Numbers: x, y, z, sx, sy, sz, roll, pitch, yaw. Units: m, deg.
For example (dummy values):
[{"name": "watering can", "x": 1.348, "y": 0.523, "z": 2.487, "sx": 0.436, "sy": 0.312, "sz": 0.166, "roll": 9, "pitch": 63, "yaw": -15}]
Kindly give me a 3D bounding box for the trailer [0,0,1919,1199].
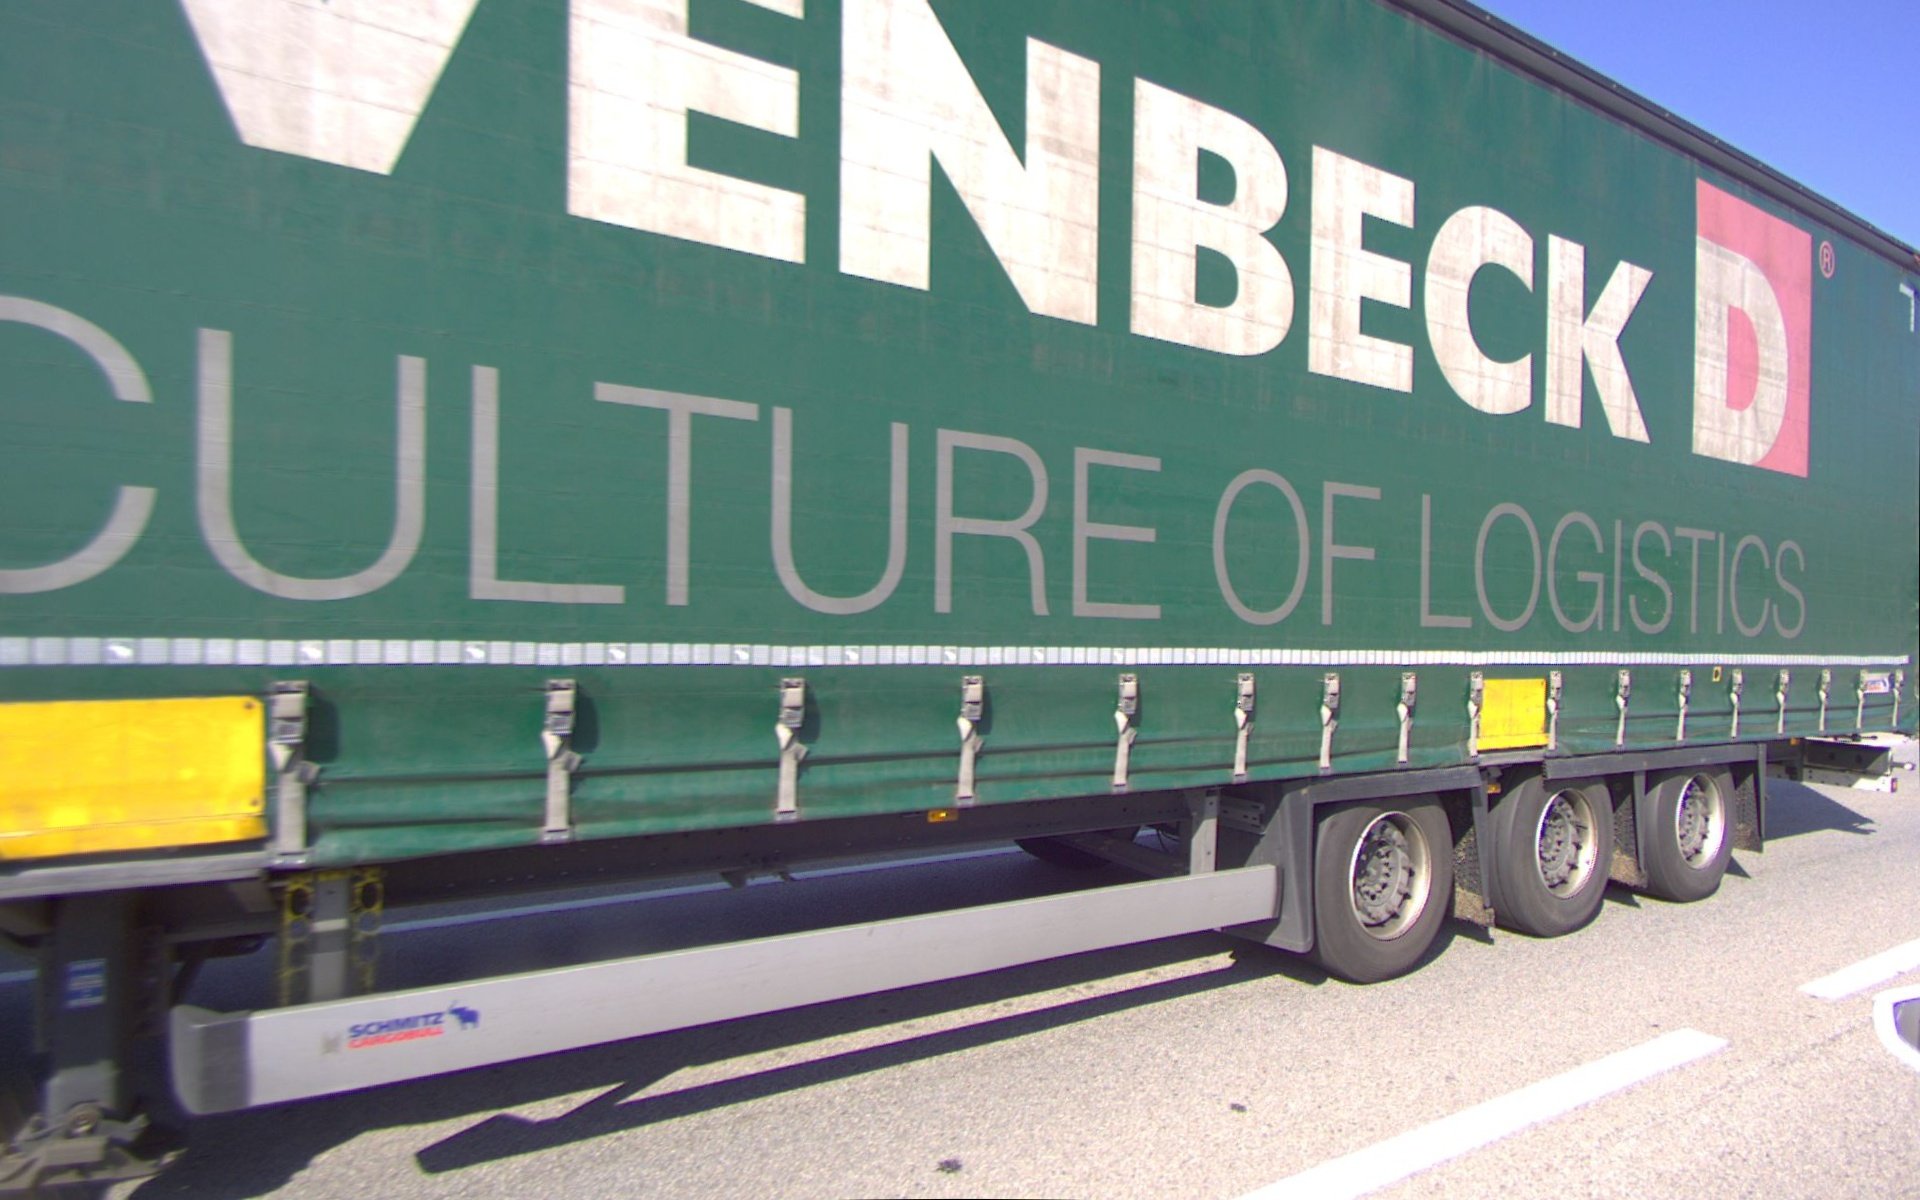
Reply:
[{"name": "trailer", "x": 0.416, "y": -0.673, "z": 4.763, "sx": 14.135, "sy": 4.359, "sz": 2.893, "roll": 1, "pitch": 0, "yaw": -31}]
